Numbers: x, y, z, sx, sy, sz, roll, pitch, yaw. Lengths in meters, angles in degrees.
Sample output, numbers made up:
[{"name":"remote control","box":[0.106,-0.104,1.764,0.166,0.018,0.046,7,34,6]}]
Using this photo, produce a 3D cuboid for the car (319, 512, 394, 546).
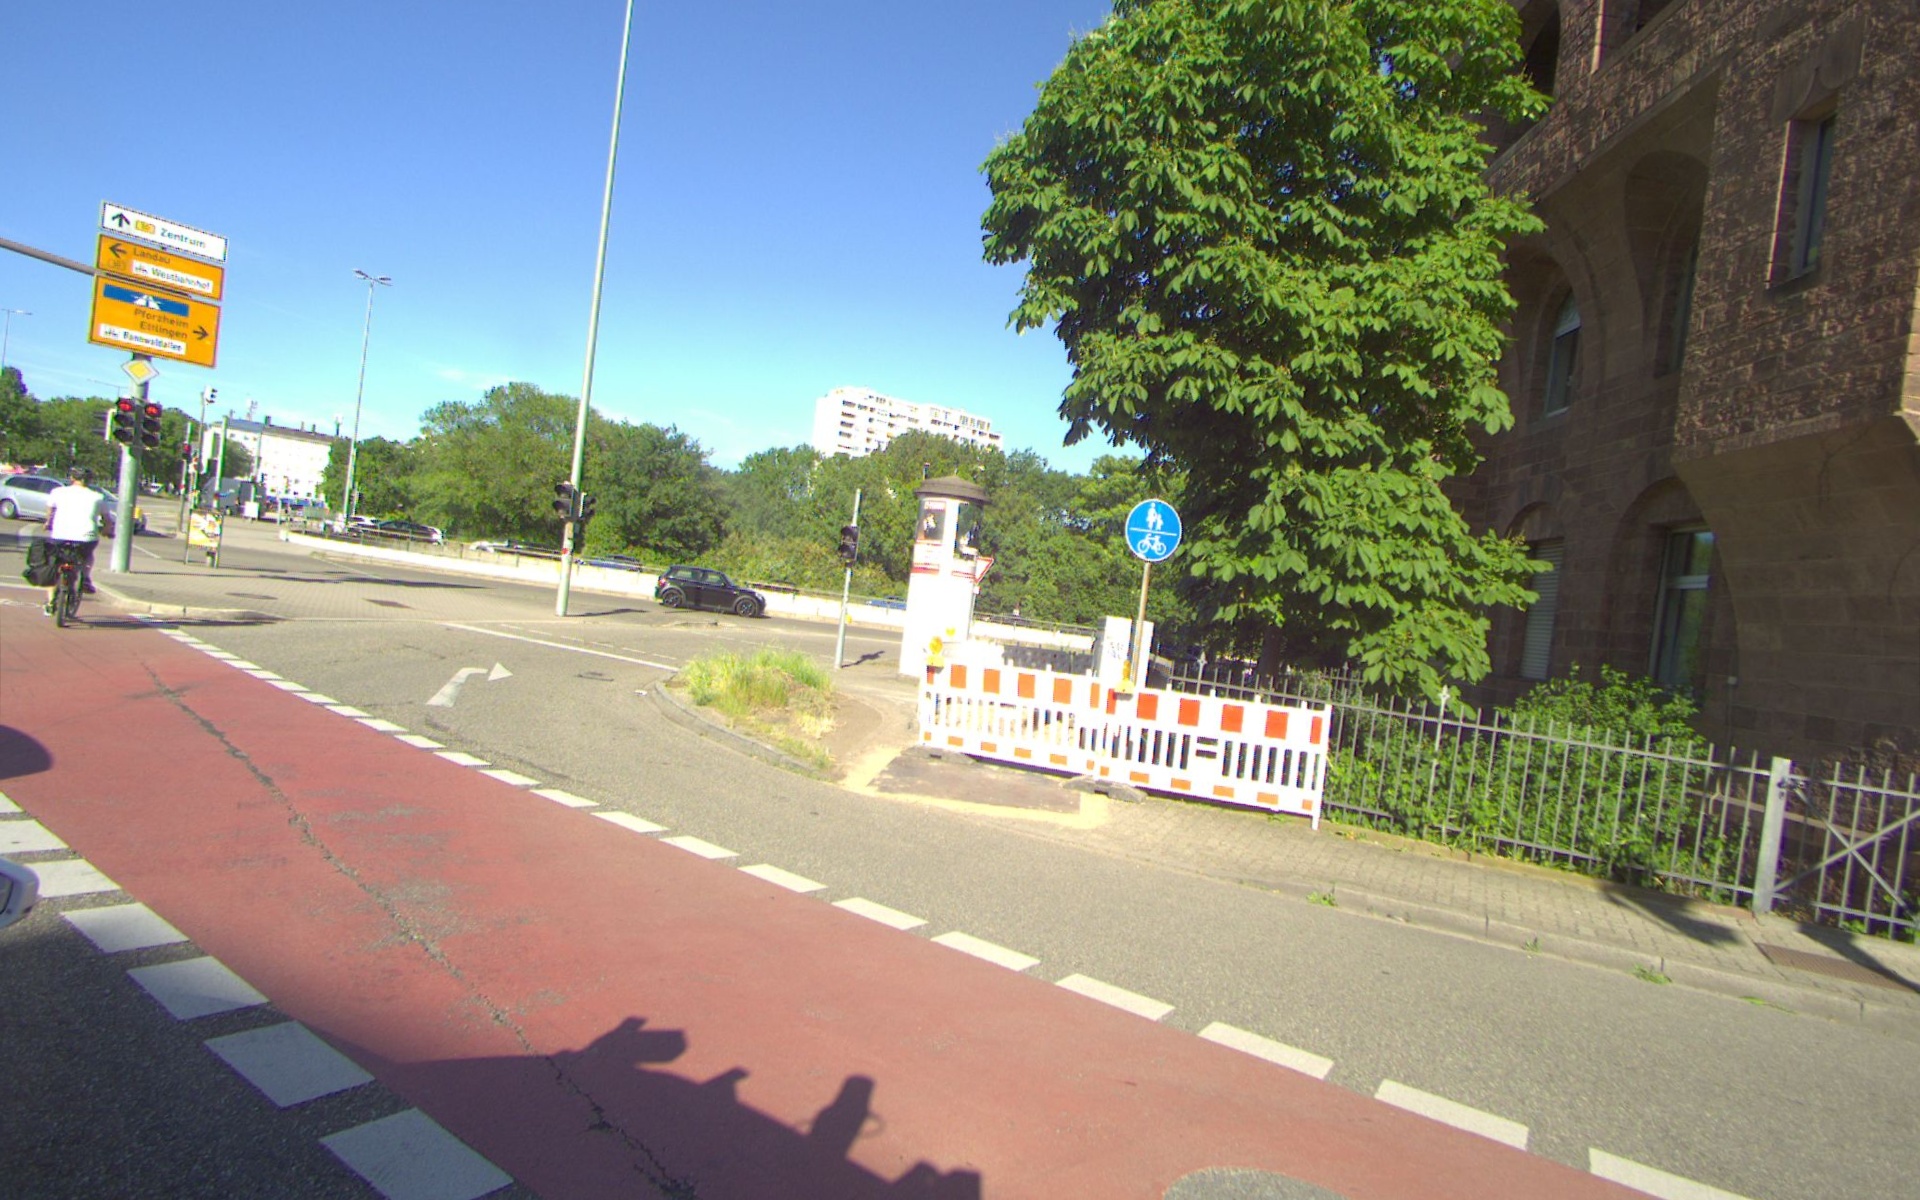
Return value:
[{"name":"car","box":[-41.386,-4.844,69.044,3.923,1.770,2.002,6,-2,8]}]

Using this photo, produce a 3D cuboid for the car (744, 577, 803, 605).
[{"name":"car","box":[-14.093,-0.656,76.035,3.946,1.681,1.991,7,-2,-22]}]

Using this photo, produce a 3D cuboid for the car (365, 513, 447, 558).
[{"name":"car","box":[-33.573,-3.889,61.101,3.943,2.037,1.992,7,-2,-20]}]

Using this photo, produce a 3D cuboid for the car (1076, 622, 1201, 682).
[{"name":"car","box":[6.254,1.816,35.139,3.956,1.512,1.743,8,0,-29]}]

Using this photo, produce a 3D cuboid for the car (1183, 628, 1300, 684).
[{"name":"car","box":[11.926,2.377,42.619,4.299,1.857,1.992,7,-2,-20]}]

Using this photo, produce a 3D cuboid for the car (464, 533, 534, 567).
[{"name":"car","box":[-31.831,-3.419,69.617,3.935,1.770,1.996,7,-2,-13]}]

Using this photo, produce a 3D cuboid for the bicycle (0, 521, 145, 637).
[{"name":"bicycle","box":[-10.437,-0.284,11.740,0.792,1.124,2.386,8,0,-26]}]

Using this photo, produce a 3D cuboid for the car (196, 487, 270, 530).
[{"name":"car","box":[-52.639,-6.627,72.825,4.802,2.638,2.259,5,-2,28]}]

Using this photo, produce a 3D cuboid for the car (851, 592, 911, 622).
[{"name":"car","box":[-6.244,0.549,79.407,4.203,1.876,2.010,7,-2,-23]}]

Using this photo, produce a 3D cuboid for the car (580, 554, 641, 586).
[{"name":"car","box":[-24.792,-2.127,71.481,3.941,1.703,1.851,7,-2,-18]}]

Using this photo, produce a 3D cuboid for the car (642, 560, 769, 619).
[{"name":"car","box":[-8.750,-0.376,34.544,3.944,1.471,1.990,7,1,-20]}]

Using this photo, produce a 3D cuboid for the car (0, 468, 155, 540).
[{"name":"car","box":[-27.682,-2.997,31.083,4.267,1.512,1.757,9,1,6]}]

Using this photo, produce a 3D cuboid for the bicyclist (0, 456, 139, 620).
[{"name":"bicyclist","box":[-10.409,-0.711,11.810,0.792,1.726,1.078,8,1,-26]}]
